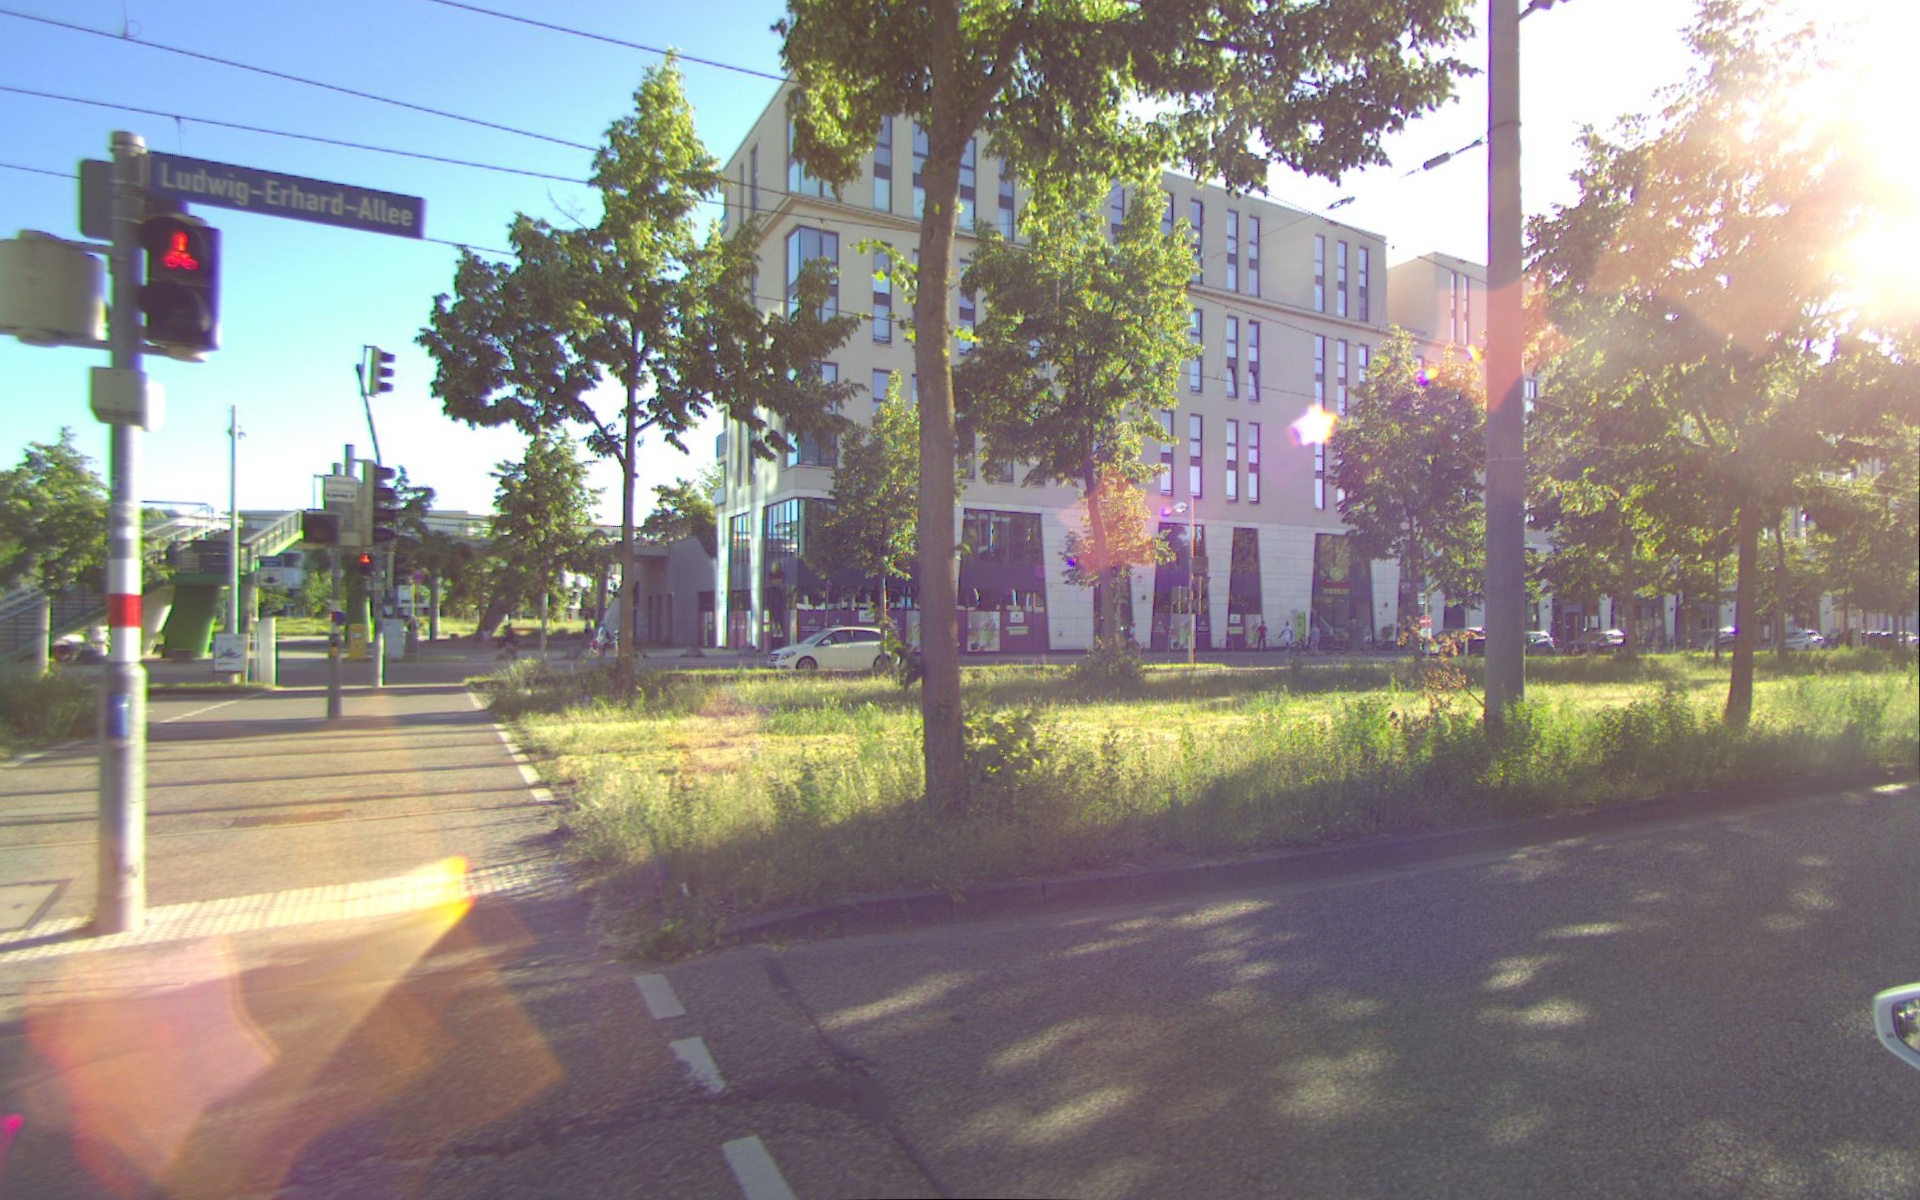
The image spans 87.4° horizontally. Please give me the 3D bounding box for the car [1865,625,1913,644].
[{"bbox_3d":[68.750,2.536,74.335,3.668,1.360,1.573,1,-1,-30],"label":"car"}]

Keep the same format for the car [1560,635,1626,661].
[{"bbox_3d":[34.883,2.616,55.333,3.668,1.360,1.573,1,-1,-30],"label":"car"}]

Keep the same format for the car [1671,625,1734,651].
[{"bbox_3d":[45.676,2.299,61.768,3.761,1.548,1.768,1,-1,-30],"label":"car"}]

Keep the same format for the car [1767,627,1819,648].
[{"bbox_3d":[56.454,2.551,68.086,3.668,1.360,1.573,1,-1,-30],"label":"car"}]

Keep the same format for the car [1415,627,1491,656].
[{"bbox_3d":[24.046,2.015,48.972,3.668,1.360,1.573,1,-1,-30],"label":"car"}]

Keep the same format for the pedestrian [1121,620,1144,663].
[{"bbox_3d":[7.444,1.784,43.310,0.791,1.836,0.575,1,0,-33],"label":"pedestrian"}]

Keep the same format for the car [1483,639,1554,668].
[{"bbox_3d":[28.902,2.744,51.956,3.668,1.360,1.573,1,-1,-30],"label":"car"}]

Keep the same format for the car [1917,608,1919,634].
[{"bbox_3d":[75.643,1.617,77.303,3.954,2.040,1.983,1,-1,-31],"label":"car"}]

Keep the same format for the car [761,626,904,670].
[{"bbox_3d":[-4.143,1.527,32.894,4.419,1.360,1.573,1,-1,-30],"label":"car"}]

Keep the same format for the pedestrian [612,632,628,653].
[{"bbox_3d":[-15.796,1.961,46.657,0.589,0.932,0.433,1,0,25],"label":"pedestrian"}]

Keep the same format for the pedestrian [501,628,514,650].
[{"bbox_3d":[-23.740,2.056,52.650,0.592,1.140,0.437,1,0,-27],"label":"pedestrian"}]

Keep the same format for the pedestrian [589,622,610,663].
[{"bbox_3d":[-16.369,1.914,45.587,0.589,1.795,0.672,1,0,25],"label":"pedestrian"}]

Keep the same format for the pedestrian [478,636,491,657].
[{"bbox_3d":[-26.581,2.607,56.154,0.592,1.140,0.437,1,0,-27],"label":"pedestrian"}]

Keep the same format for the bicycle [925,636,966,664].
[{"bbox_3d":[-0.581,2.017,40.894,1.618,1.126,0.526,1,0,-30],"label":"bicycle"}]

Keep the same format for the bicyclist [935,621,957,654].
[{"bbox_3d":[-0.563,1.513,40.909,0.696,1.310,0.576,1,0,-29],"label":"bicyclist"}]
